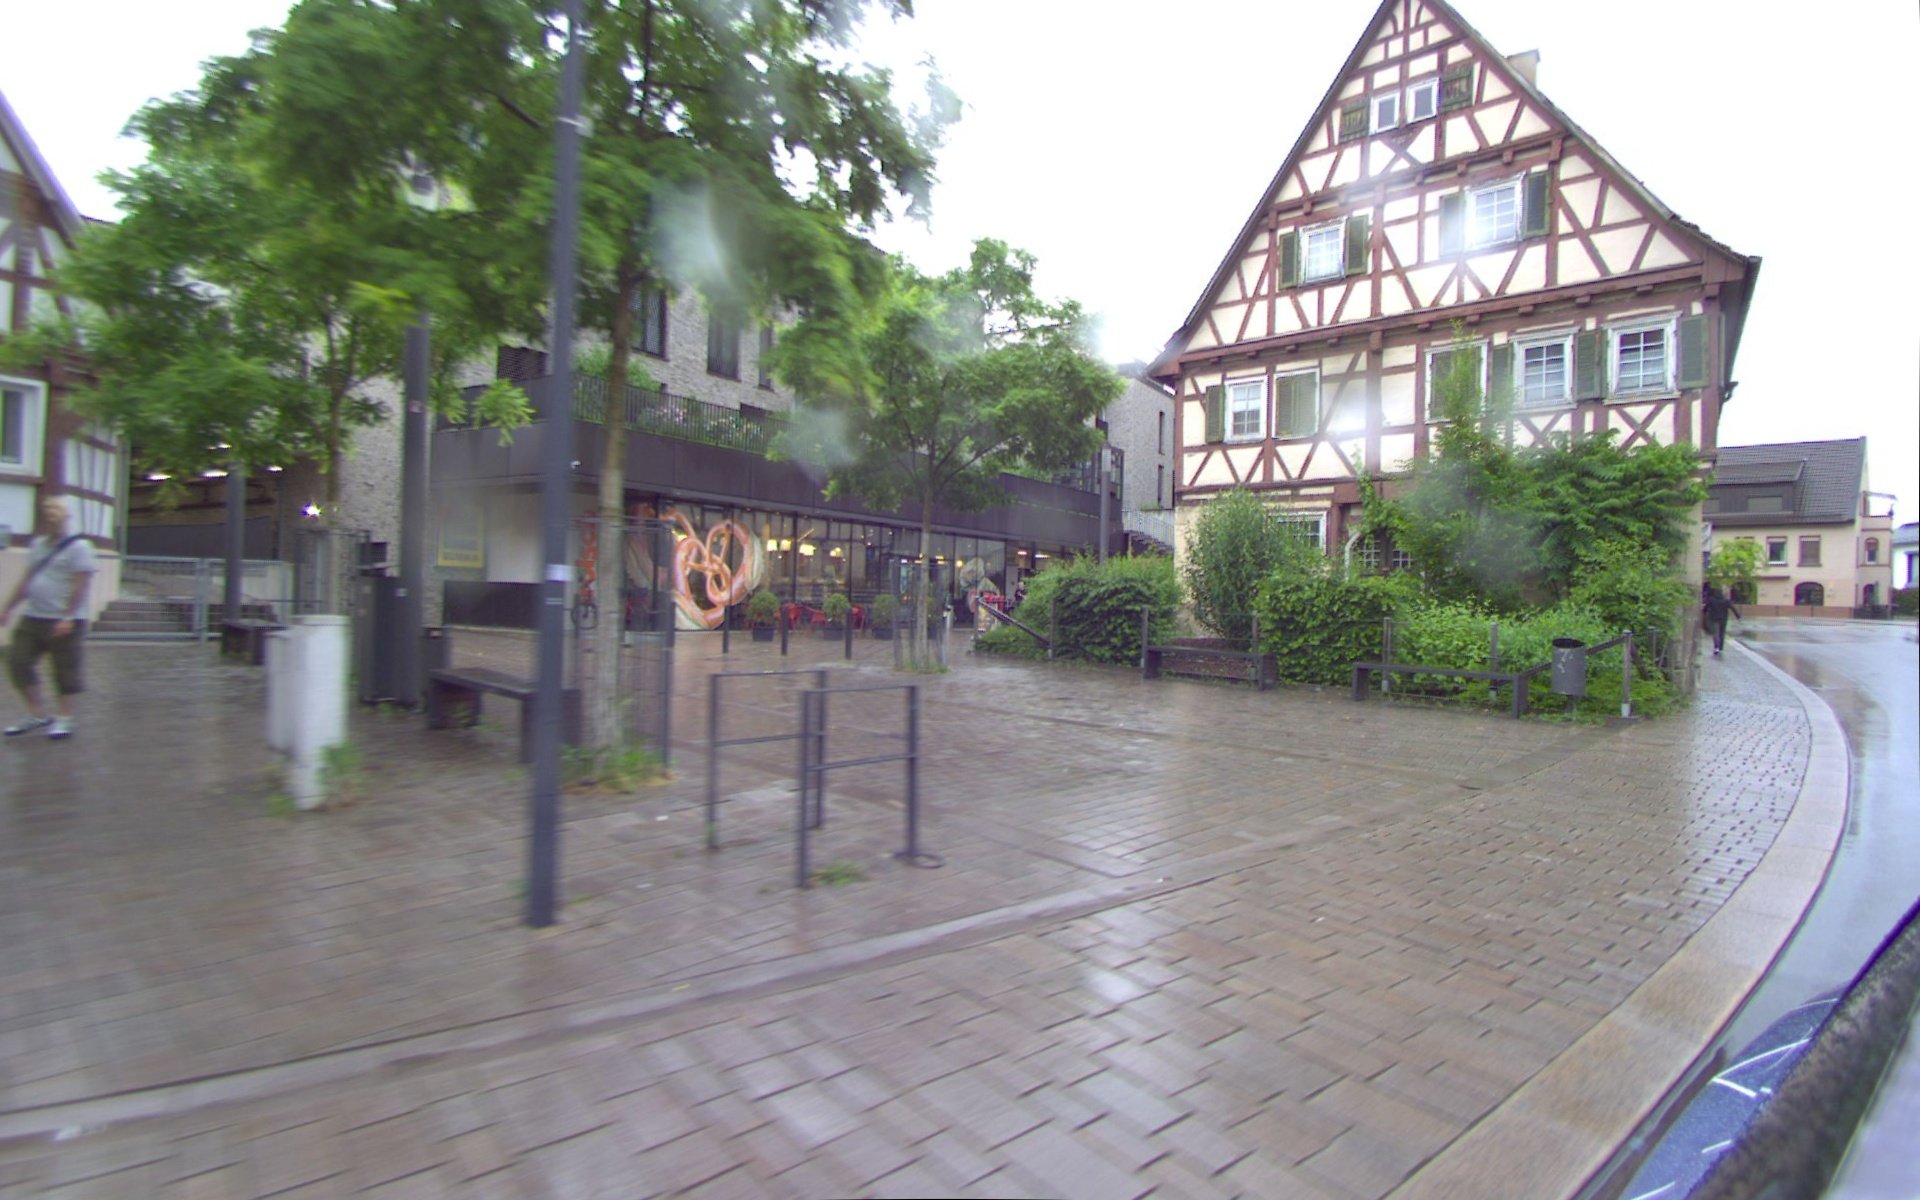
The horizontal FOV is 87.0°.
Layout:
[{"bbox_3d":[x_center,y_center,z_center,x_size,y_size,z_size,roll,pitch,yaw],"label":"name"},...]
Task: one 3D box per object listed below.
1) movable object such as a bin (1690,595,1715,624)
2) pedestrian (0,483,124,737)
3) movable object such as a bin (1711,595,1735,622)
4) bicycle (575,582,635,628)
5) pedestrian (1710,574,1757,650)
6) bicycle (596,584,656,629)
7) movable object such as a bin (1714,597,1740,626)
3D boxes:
[{"bbox_3d":[29.996,0.378,40.896,0.764,1.109,0.619,3,2,36],"label":"movable object such as a bin"},{"bbox_3d":[-6.887,0.056,7.631,0.693,1.806,0.849,2,2,-27],"label":"pedestrian"},{"bbox_3d":[32.522,0.370,43.130,0.764,1.109,0.574,3,2,36],"label":"movable object such as a bin"},{"bbox_3d":[-8.493,0.107,24.172,1.696,0.981,0.443,4,2,35],"label":"bicycle"},{"bbox_3d":[20.105,0.306,26.328,0.807,1.908,0.897,4,2,34],"label":"pedestrian"},{"bbox_3d":[-8.116,0.145,24.590,1.696,0.981,0.443,4,2,35],"label":"bicycle"},{"bbox_3d":[30.369,0.445,40.070,0.764,1.109,0.574,3,2,36],"label":"movable object such as a bin"}]
